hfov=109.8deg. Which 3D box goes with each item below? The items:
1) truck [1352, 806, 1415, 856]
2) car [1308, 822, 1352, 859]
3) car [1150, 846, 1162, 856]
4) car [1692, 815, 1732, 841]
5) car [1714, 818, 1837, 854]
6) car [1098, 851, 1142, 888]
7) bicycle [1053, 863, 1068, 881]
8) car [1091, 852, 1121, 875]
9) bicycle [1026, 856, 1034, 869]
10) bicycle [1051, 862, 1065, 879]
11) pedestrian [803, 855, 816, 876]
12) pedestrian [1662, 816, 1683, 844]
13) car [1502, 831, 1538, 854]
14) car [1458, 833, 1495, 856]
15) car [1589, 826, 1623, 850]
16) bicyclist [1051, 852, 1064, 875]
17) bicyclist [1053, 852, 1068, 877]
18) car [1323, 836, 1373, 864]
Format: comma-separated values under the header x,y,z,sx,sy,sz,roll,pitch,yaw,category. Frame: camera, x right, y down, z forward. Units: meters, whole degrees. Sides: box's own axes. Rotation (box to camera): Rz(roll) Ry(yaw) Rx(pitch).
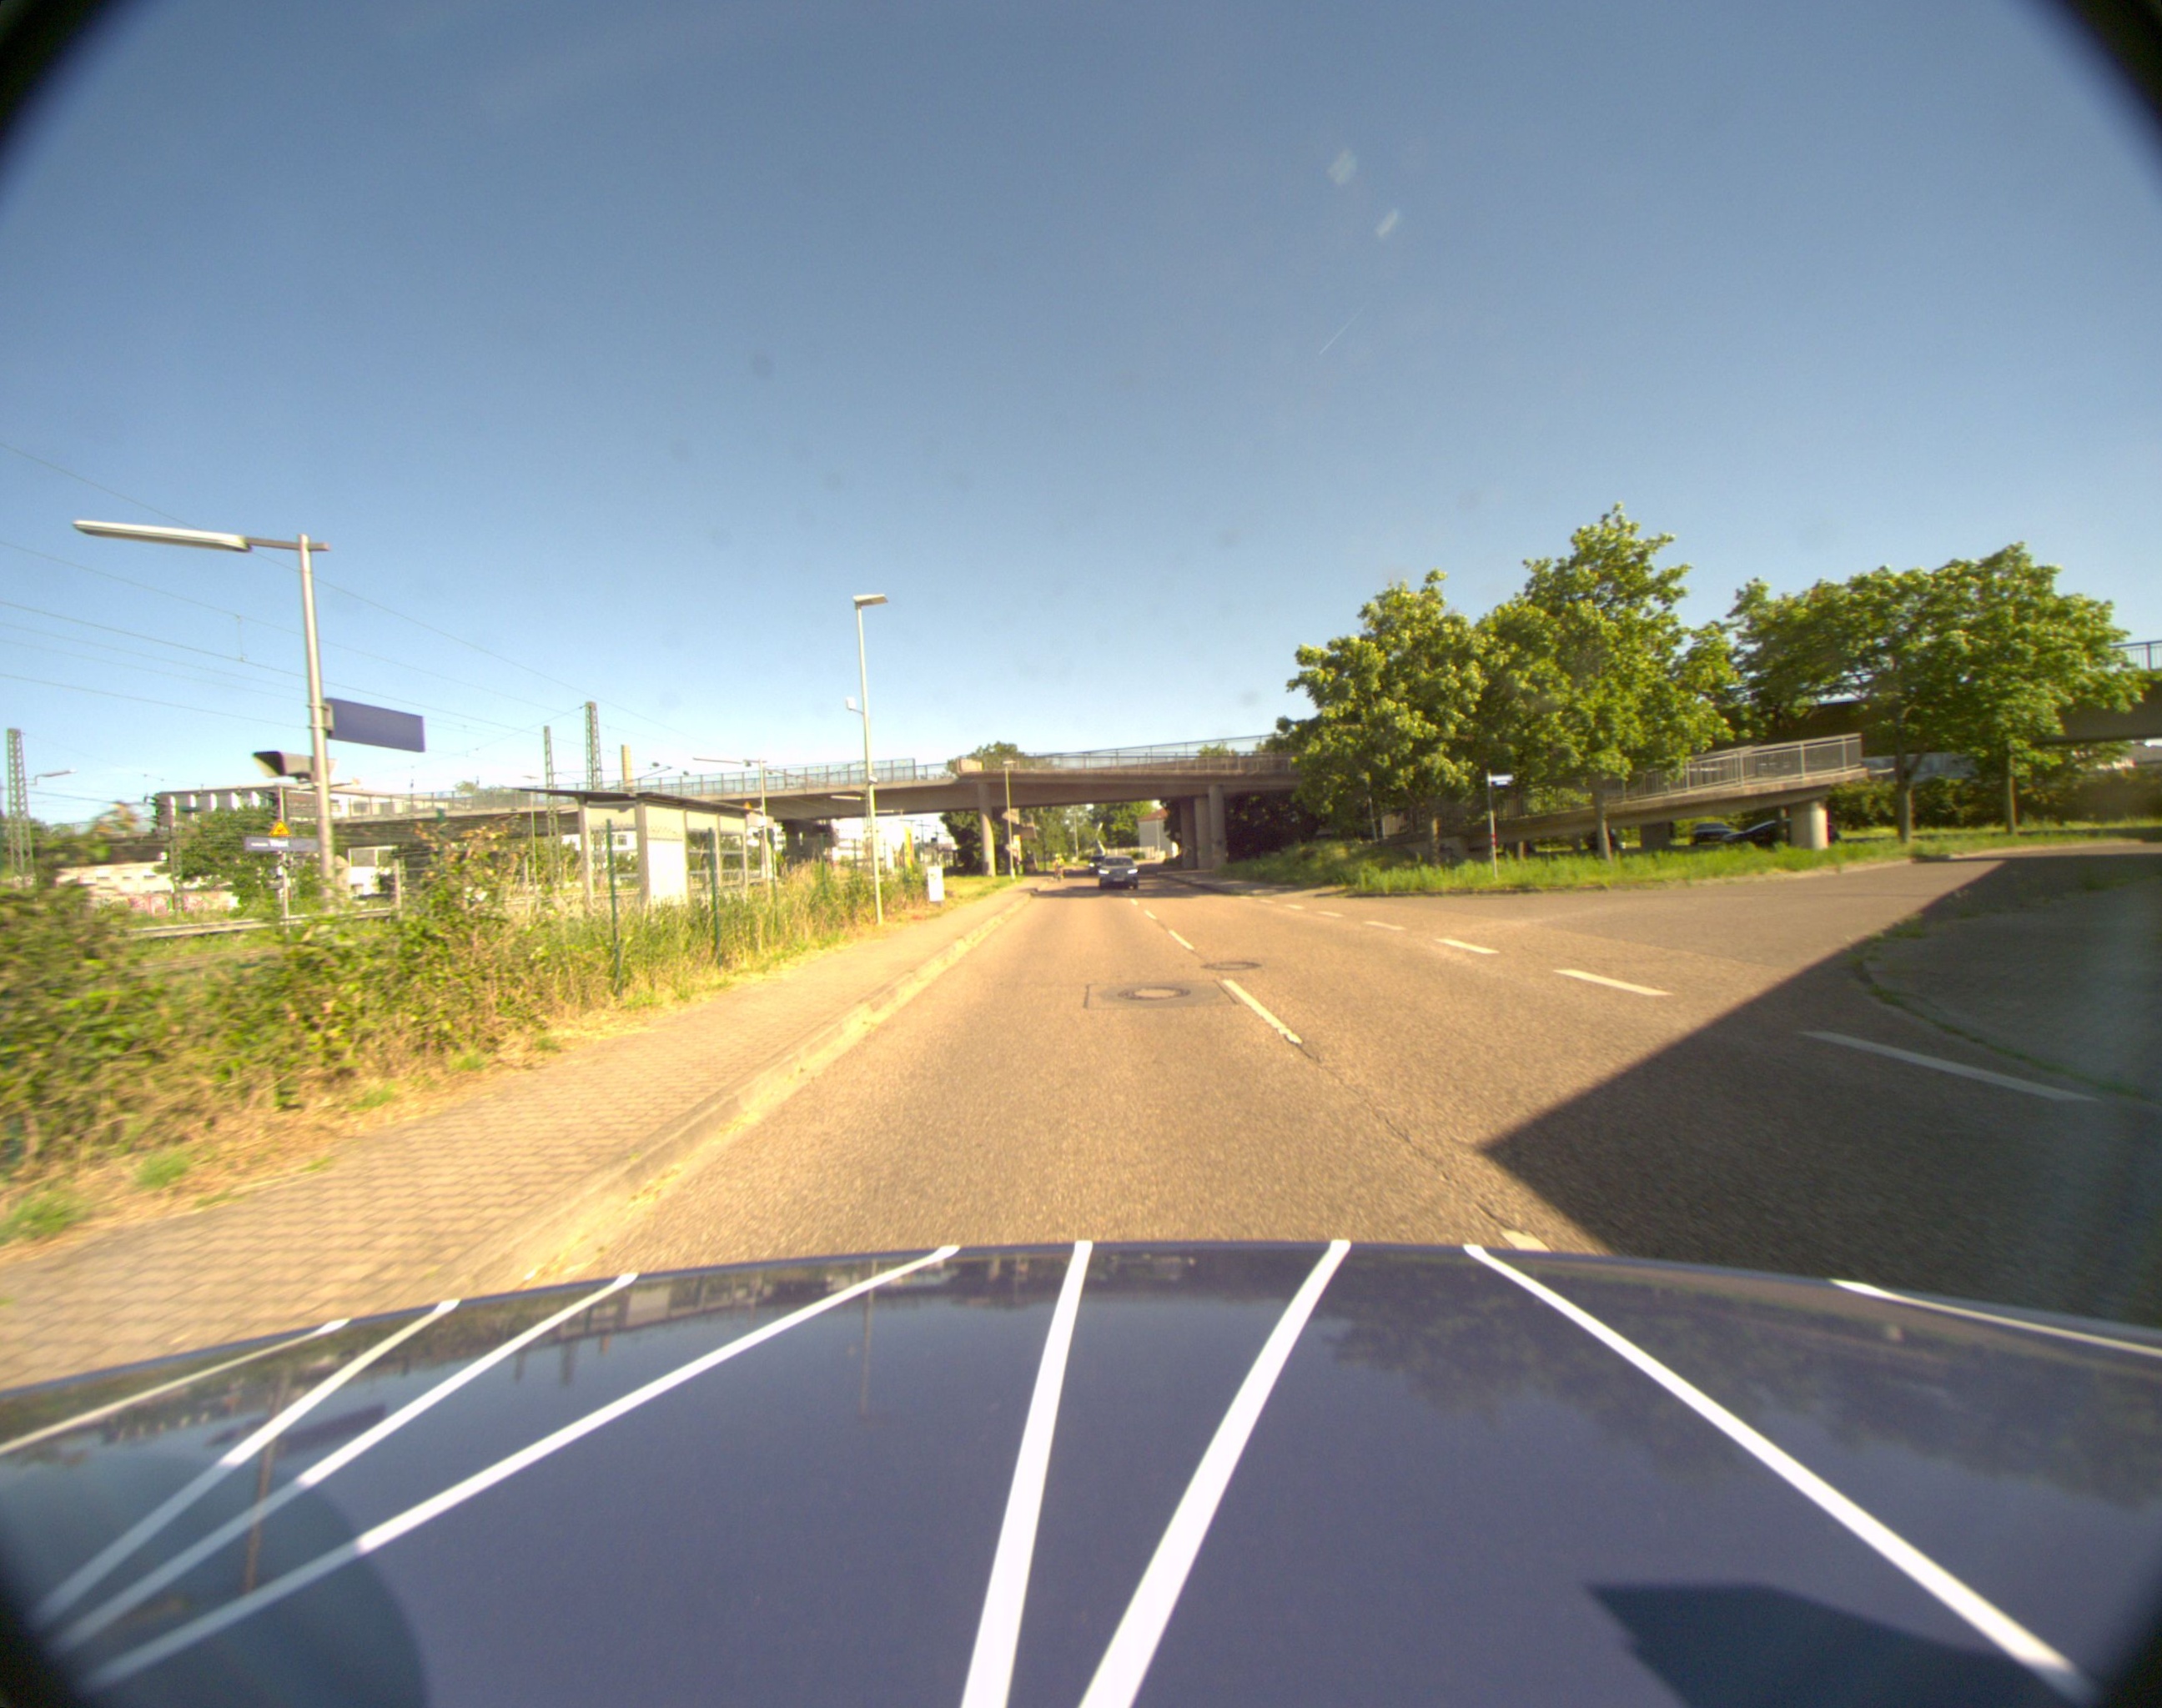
x,y,z,sx,sy,sz,roll,pitch,yaw,category
23.638,-1.779,59.116,2.476,3.531,7.982,-2,1,36,truck
19.363,-1.022,58.944,1.942,2.665,6.020,-2,0,30,car
13.519,-0.562,137.156,1.998,1.767,4.367,-3,0,6,car
38.416,-1.572,46.346,1.735,1.434,4.258,-2,1,38,car
34.185,-0.849,37.557,4.287,1.543,1.687,-2,1,36,car
1.817,0.693,36.667,1.850,1.621,4.294,-1,0,0,car
-1.251,1.088,46.793,0.843,1.045,2.189,-3,0,-3,bicycle
2.013,0.712,59.982,1.849,1.621,4.297,-3,0,8,car
-4.882,0.789,72.650,0.599,1.175,2.180,-2,1,-5,bicycle
-1.534,1.085,50.288,0.843,1.045,2.189,-3,0,-2,bicycle
-26.642,1.114,74.696,0.895,2.002,0.835,-3,1,-2,pedestrian
35.460,-1.450,45.559,0.668,1.653,0.711,-3,1,11,pedestrian
30.237,-0.830,52.275,1.735,1.434,4.258,-2,1,35,car
27.991,-0.690,53.707,1.735,1.434,4.258,-2,1,35,car
34.441,-1.047,49.798,1.735,1.434,4.258,-2,1,35,car
-1.553,0.632,50.279,0.843,1.480,0.923,-3,1,-2,bicyclist
-1.260,0.642,46.661,0.843,1.480,0.923,-3,1,-2,bicyclist
16.615,-0.296,47.141,1.864,1.632,4.290,1,2,35,car
